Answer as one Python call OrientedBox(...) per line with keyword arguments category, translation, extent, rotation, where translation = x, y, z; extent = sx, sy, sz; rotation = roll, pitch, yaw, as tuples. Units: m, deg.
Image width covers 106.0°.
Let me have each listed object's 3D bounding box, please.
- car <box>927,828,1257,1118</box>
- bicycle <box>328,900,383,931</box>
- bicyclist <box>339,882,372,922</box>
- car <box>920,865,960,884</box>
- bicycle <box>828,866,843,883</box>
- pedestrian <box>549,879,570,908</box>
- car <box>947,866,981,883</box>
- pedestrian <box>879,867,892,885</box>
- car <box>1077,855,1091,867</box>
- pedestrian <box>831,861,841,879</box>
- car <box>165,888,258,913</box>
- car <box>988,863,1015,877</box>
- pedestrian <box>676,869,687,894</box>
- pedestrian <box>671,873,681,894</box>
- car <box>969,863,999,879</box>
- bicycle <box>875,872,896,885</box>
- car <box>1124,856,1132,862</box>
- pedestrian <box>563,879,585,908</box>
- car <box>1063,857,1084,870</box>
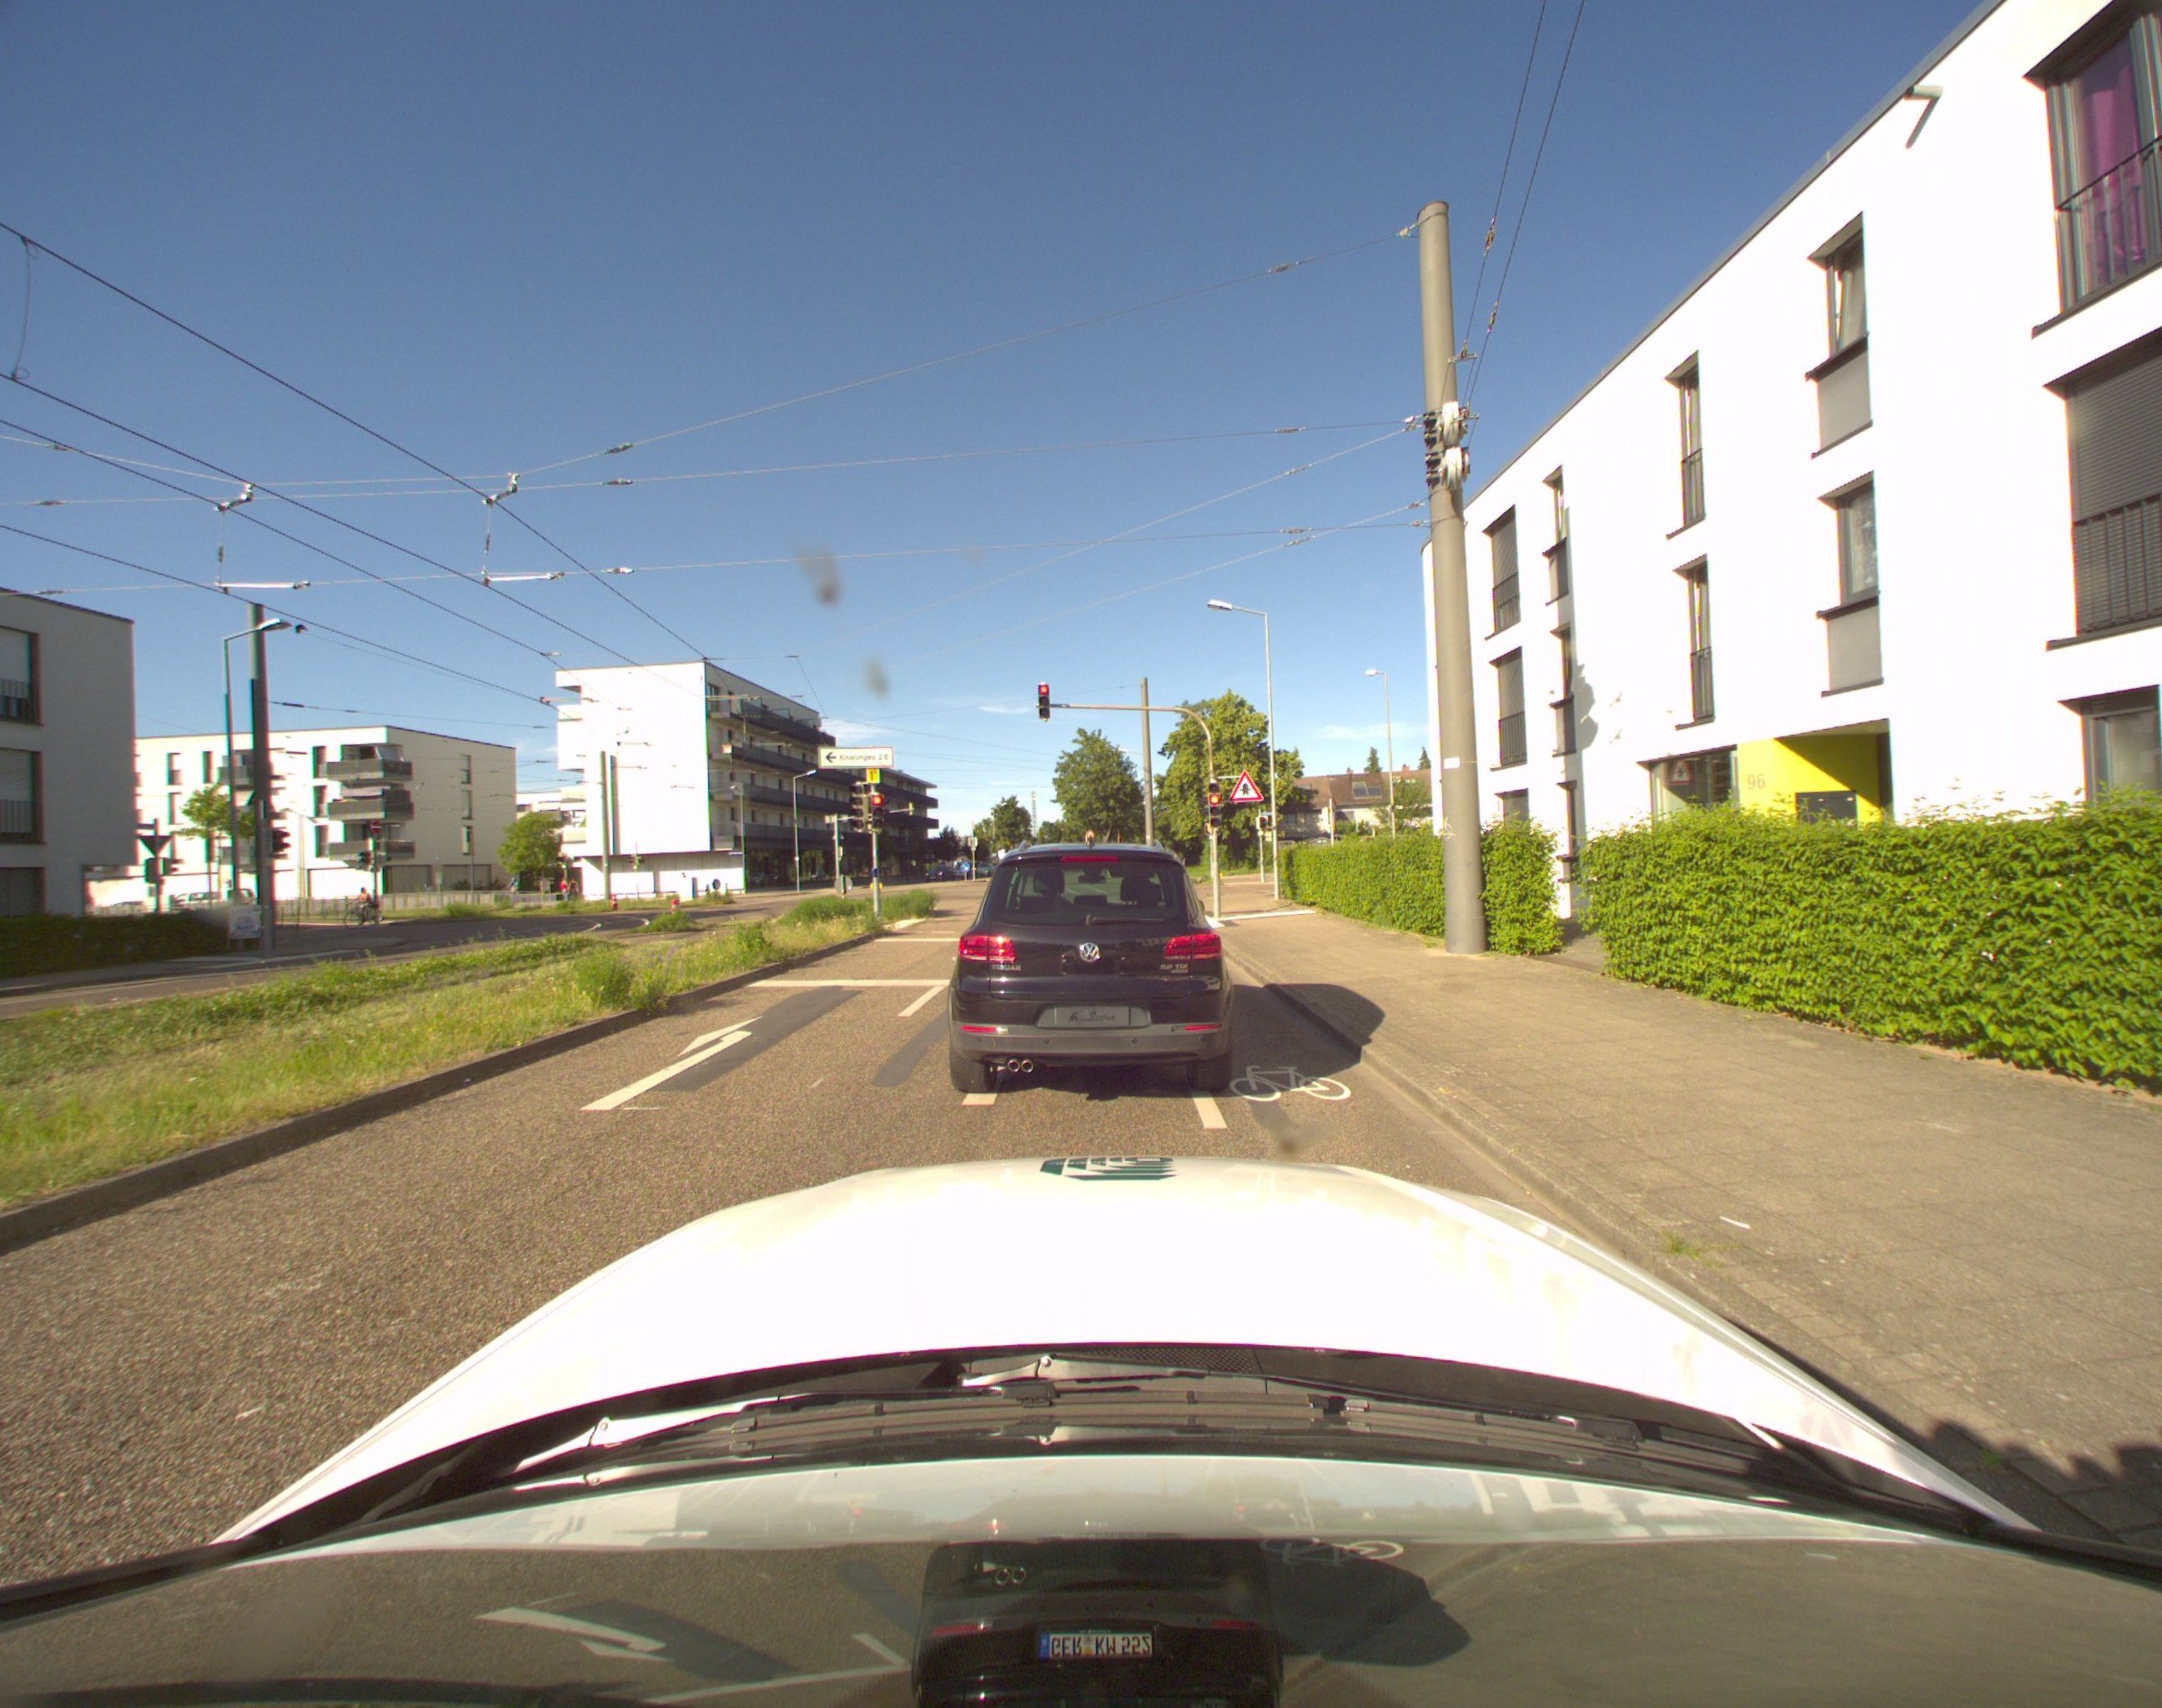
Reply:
OrientedBox(category="car", translation=(0.122, 0.691, 6.632), extent=(1.862, 1.637, 4.001), rotation=(0, -1, 2))
OrientedBox(category="bicycle", translation=(-30.305, 2.551, 34.047), extent=(0.819, 1.124, 1.856), rotation=(0, -1, -8))
OrientedBox(category="bicyclist", translation=(-30.256, 1.989, 33.978), extent=(0.781, 1.614, 0.640), rotation=(0, -1, -4))
OrientedBox(category="car", translation=(-12.400, 1.793, 71.911), extent=(1.980, 1.574, 4.353), rotation=(-1, -1, 11))
OrientedBox(category="bicycle", translation=(-20.976, 1.742, 69.606), extent=(0.627, 1.332, 1.914), rotation=(0, -1, 4))
OrientedBox(category="pedestrian", translation=(-29.621, 2.254, 46.264), extent=(0.770, 1.605, 0.741), rotation=(0, -1, -5))
OrientedBox(category="car", translation=(-11.283, 1.939, 78.579), extent=(1.981, 1.574, 4.350), rotation=(-1, -1, 9))
OrientedBox(category="pedestrian", translation=(-16.049, 1.790, 66.931), extent=(0.707, 1.474, 0.956), rotation=(-1, -1, 9))
OrientedBox(category="car", translation=(0.437, 1.025, 120.752), extent=(1.855, 1.720, 3.690), rotation=(-2, 0, 4))
OrientedBox(category="pedestrian", translation=(-20.961, 1.387, 69.692), extent=(0.640, 1.509, 0.596), rotation=(0, -1, 2))
OrientedBox(category="car", translation=(-58.903, 3.144, 55.215), extent=(4.305, 1.574, 2.002), rotation=(0, -1, 4))
OrientedBox(category="car", translation=(-8.891, 1.760, 91.426), extent=(1.981, 1.574, 4.350), rotation=(-1, -1, 9))
OrientedBox(category="pedestrian", translation=(-28.109, 1.922, 57.295), extent=(0.542, 1.744, 0.517), rotation=(0, -1, -4))
OrientedBox(category="pedestrian", translation=(-28.190, 2.056, 56.727), extent=(0.440, 1.503, 0.517), rotation=(0, -1, -4))
OrientedBox(category="car", translation=(-10.162, 1.754, 85.468), extent=(1.981, 1.574, 4.350), rotation=(-1, -1, 9))
OrientedBox(category="bicycle", translation=(-16.044, 2.025, 66.890), extent=(0.766, 0.989, 2.438), rotation=(-1, -1, 9))
OrientedBox(category="car", translation=(12.179, 1.296, 210.540), extent=(1.987, 1.684, 4.000), rotation=(0, -1, 0))
OrientedBox(category="pedestrian", translation=(-28.808, 2.248, 46.279), extent=(0.770, 1.605, 0.741), rotation=(0, -1, -5))
OrientedBox(category="car", translation=(-0.892, 1.212, 101.740), extent=(1.852, 1.485, 4.121), rotation=(-3, 0, 9))
